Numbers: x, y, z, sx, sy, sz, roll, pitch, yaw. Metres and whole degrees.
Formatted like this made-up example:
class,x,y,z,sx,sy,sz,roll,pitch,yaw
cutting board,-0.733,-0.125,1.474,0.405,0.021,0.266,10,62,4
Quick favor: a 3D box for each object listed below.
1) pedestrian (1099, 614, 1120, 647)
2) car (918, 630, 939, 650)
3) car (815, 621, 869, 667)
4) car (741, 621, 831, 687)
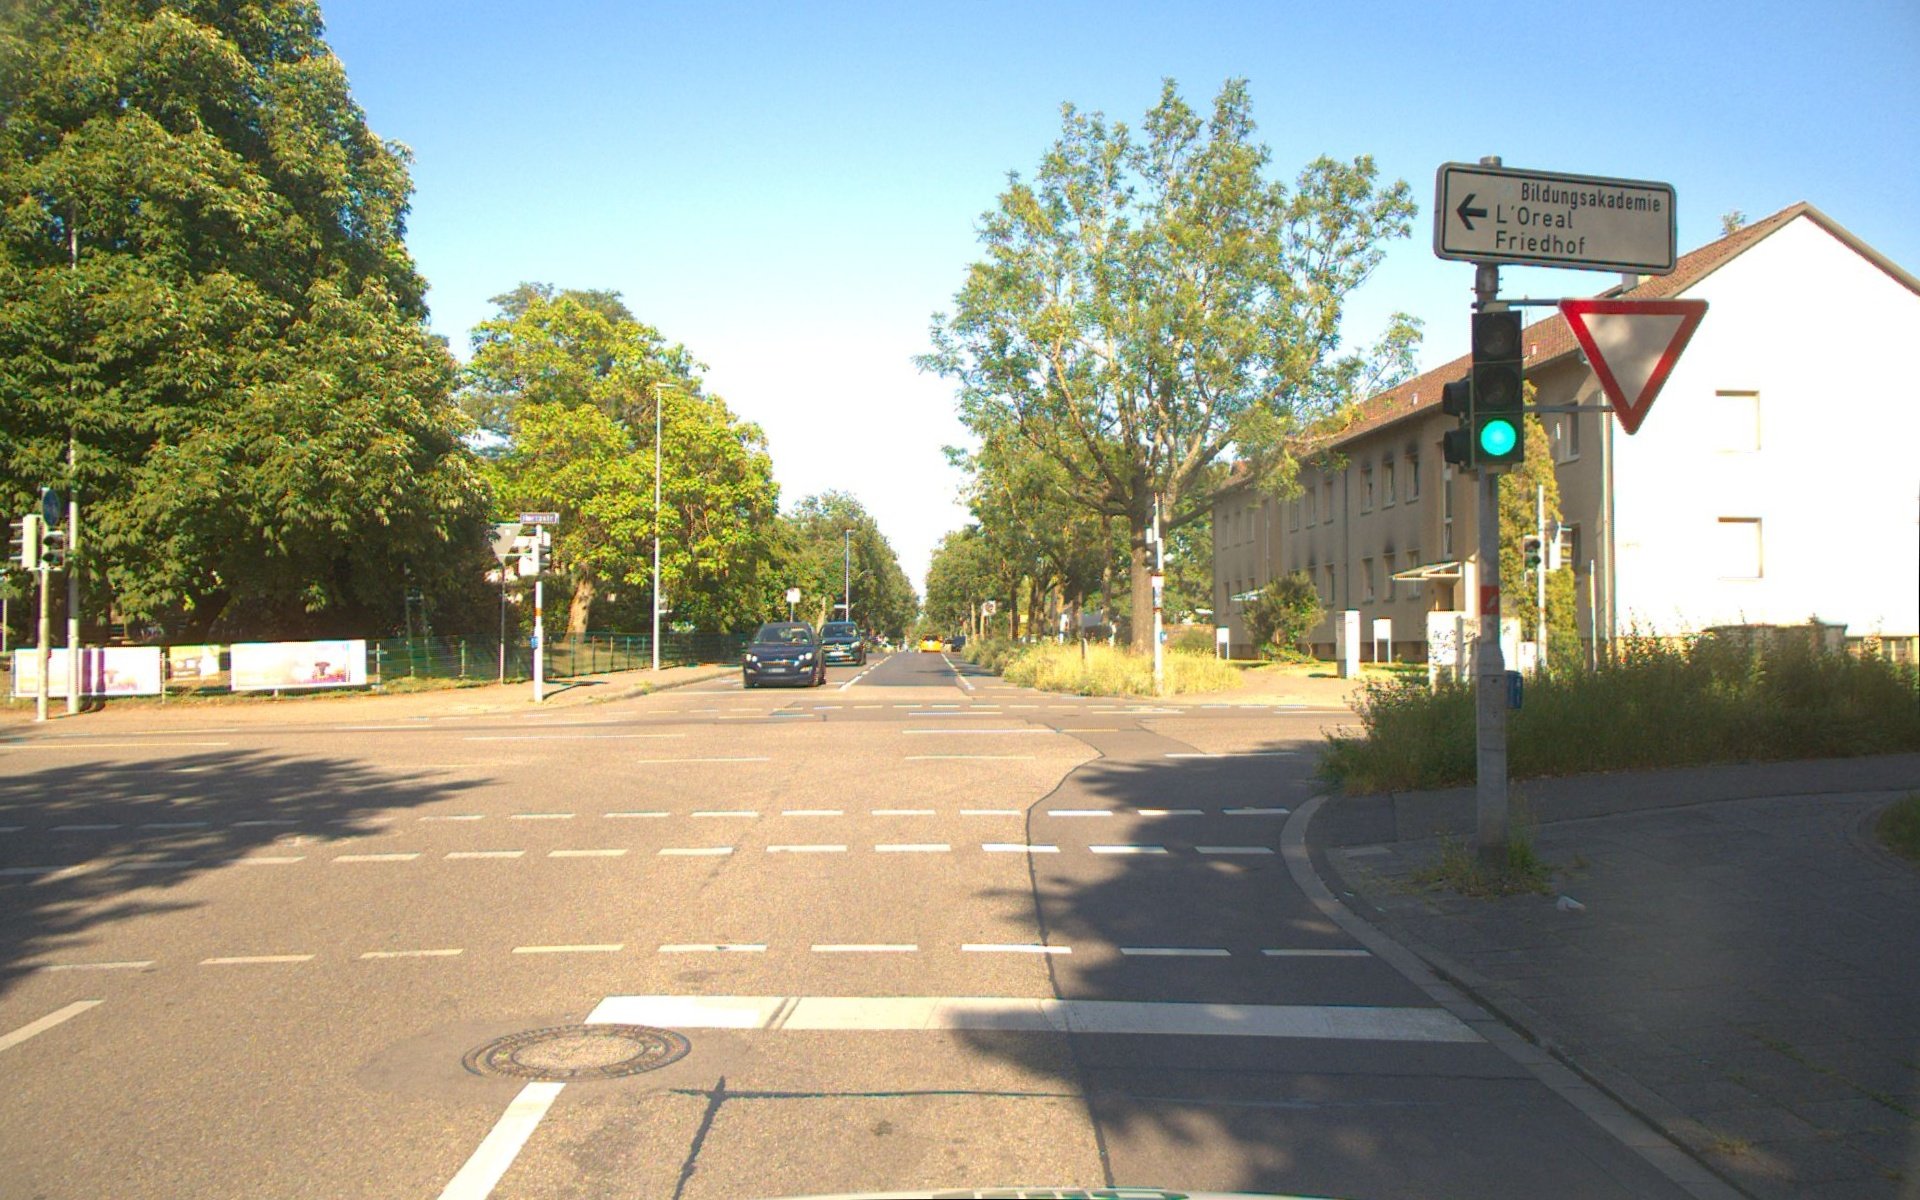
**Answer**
class,x,y,z,sx,sy,sz,roll,pitch,yaw
pedestrian,7.062,1.420,78.129,0.825,1.519,0.924,2,-1,-1
car,-2.579,3.276,137.411,1.716,1.610,3.999,1,-1,-1
car,-4.341,1.612,61.214,1.722,1.653,3.268,0,0,0
car,-3.944,1.209,37.909,1.676,1.410,3.470,0,0,0
